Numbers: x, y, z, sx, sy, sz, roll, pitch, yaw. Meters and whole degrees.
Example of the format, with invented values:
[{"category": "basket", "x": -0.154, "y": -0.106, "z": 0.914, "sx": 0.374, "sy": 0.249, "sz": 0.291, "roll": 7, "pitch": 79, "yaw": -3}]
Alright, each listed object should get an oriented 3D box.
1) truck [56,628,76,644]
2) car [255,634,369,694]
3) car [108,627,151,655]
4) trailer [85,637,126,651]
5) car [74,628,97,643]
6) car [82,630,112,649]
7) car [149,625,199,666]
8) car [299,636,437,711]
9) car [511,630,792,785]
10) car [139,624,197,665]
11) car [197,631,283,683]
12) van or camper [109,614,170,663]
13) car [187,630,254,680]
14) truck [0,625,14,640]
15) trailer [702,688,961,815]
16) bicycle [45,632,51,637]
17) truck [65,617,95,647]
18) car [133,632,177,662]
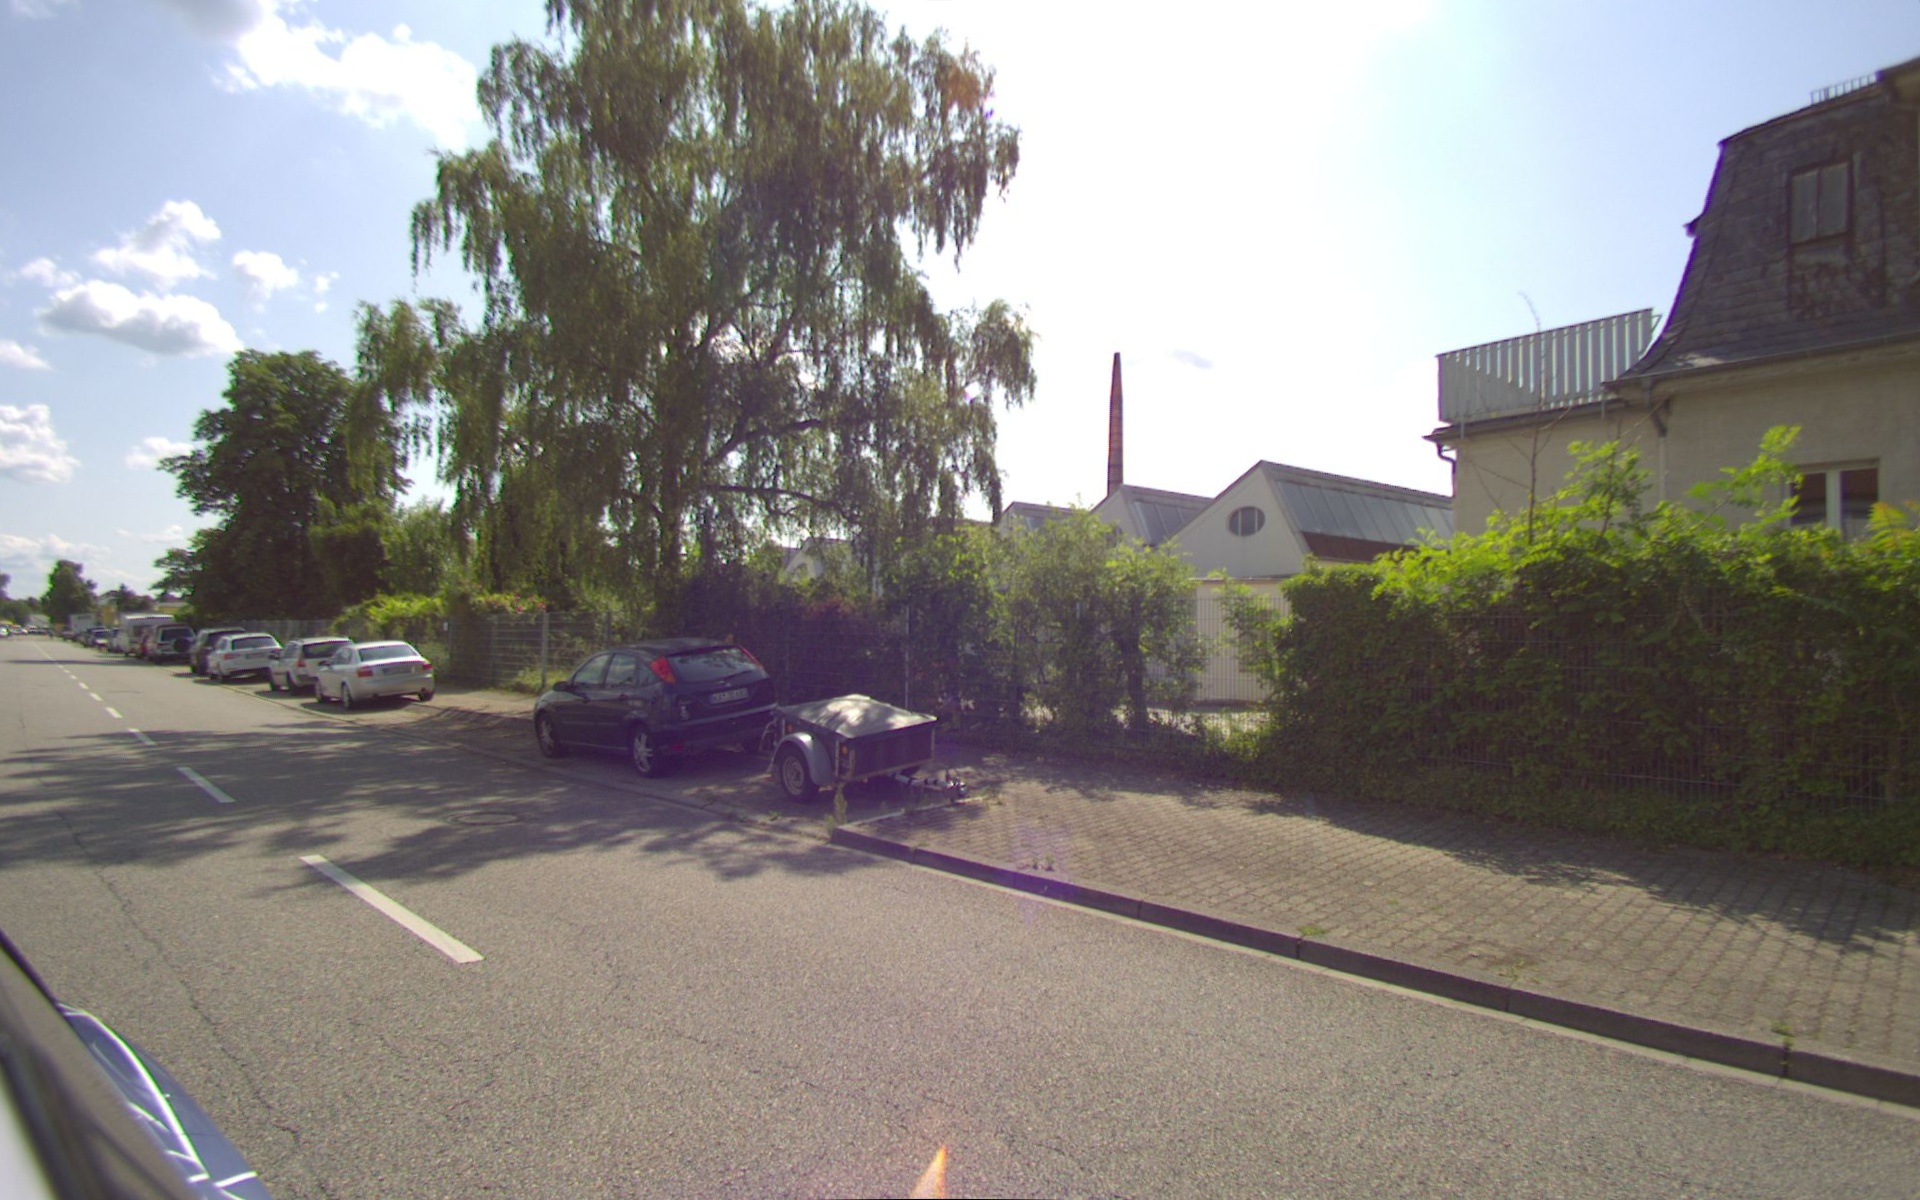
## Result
[{"category": "truck", "x": -135.345, "y": 5.413, "z": 153.241, "sx": 2.101, "sy": 2.256, "sz": 7.360, "roll": 0, "pitch": -2, "yaw": -40}, {"category": "car", "x": -18.040, "y": 1.723, "z": 28.083, "sx": 1.773, "sy": 1.539, "sz": 4.663, "roll": 4, "pitch": -4, "yaw": -43}, {"category": "car", "x": -56.319, "y": 2.752, "z": 68.576, "sx": 4.445, "sy": 1.705, "sz": 1.665, "roll": -2, "pitch": 1, "yaw": 44}, {"category": "trailer", "x": -68.024, "y": 3.465, "z": 80.519, "sx": 2.244, "sy": 0.889, "sz": 7.140, "roll": -3, "pitch": 1, "yaw": -42}, {"category": "car", "x": -86.732, "y": 3.498, "z": 100.383, "sx": 1.596, "sy": 1.495, "sz": 3.713, "roll": 0, "pitch": -2, "yaw": -43}, {"category": "car", "x": -74.014, "y": 3.363, "z": 86.764, "sx": 4.203, "sy": 1.524, "sz": 1.559, "roll": -1, "pitch": -3, "yaw": 45}, {"category": "car", "x": -38.029, "y": 2.178, "z": 48.943, "sx": 1.679, "sy": 1.815, "sz": 3.832, "roll": -2, "pitch": 0, "yaw": -41}, {"category": "car", "x": -13.904, "y": 1.634, "z": 23.647, "sx": 1.704, "sy": 1.488, "sz": 4.634, "roll": -2, "pitch": 0, "yaw": -44}, {"category": "car", "x": -4.041, "y": 1.211, "z": 12.862, "sx": 1.663, "sy": 1.524, "sz": 4.160, "roll": -2, "pitch": 1, "yaw": -44}, {"category": "car", "x": -42.195, "y": 2.323, "z": 53.888, "sx": 1.876, "sy": 1.969, "sz": 4.962, "roll": -4, "pitch": 2, "yaw": -43}, {"category": "car", "x": -23.962, "y": 1.856, "z": 33.617, "sx": 1.679, "sy": 1.607, "sz": 4.792, "roll": 4, "pitch": -4, "yaw": -42}, {"category": "van or camper", "x": -51.396, "y": 2.350, "z": 63.344, "sx": 2.237, "sy": 2.825, "sz": 6.837, "roll": -2, "pitch": 0, "yaw": -45}, {"category": "car", "x": -28.014, "y": 2.020, "z": 38.295, "sx": 1.591, "sy": 1.758, "sz": 4.642, "roll": 1, "pitch": -2, "yaw": -42}, {"category": "truck", "x": -181.516, "y": 6.192, "z": 192.147, "sx": 2.367, "sy": 2.825, "sz": 6.383, "roll": 4, "pitch": -4, "yaw": -41}, {"category": "trailer", "x": -1.369, "y": 1.462, "z": 10.355, "sx": 1.447, "sy": 0.857, "sz": 2.469, "roll": -3, "pitch": 1, "yaw": -43}, {"category": "bicycle", "x": -134.435, "y": 5.085, "z": 149.191, "sx": 0.580, "sy": 0.747, "sz": 2.128, "roll": 3, "pitch": -4, "yaw": -41}, {"category": "truck", "x": -104.823, "y": 3.854, "z": 120.477, "sx": 2.224, "sy": 3.387, "sz": 6.912, "roll": -3, "pitch": 0, "yaw": -44}, {"category": "car", "x": -46.414, "y": 2.662, "z": 58.304, "sx": 1.606, "sy": 1.544, "sz": 4.272, "roll": -3, "pitch": 1, "yaw": -43}]
